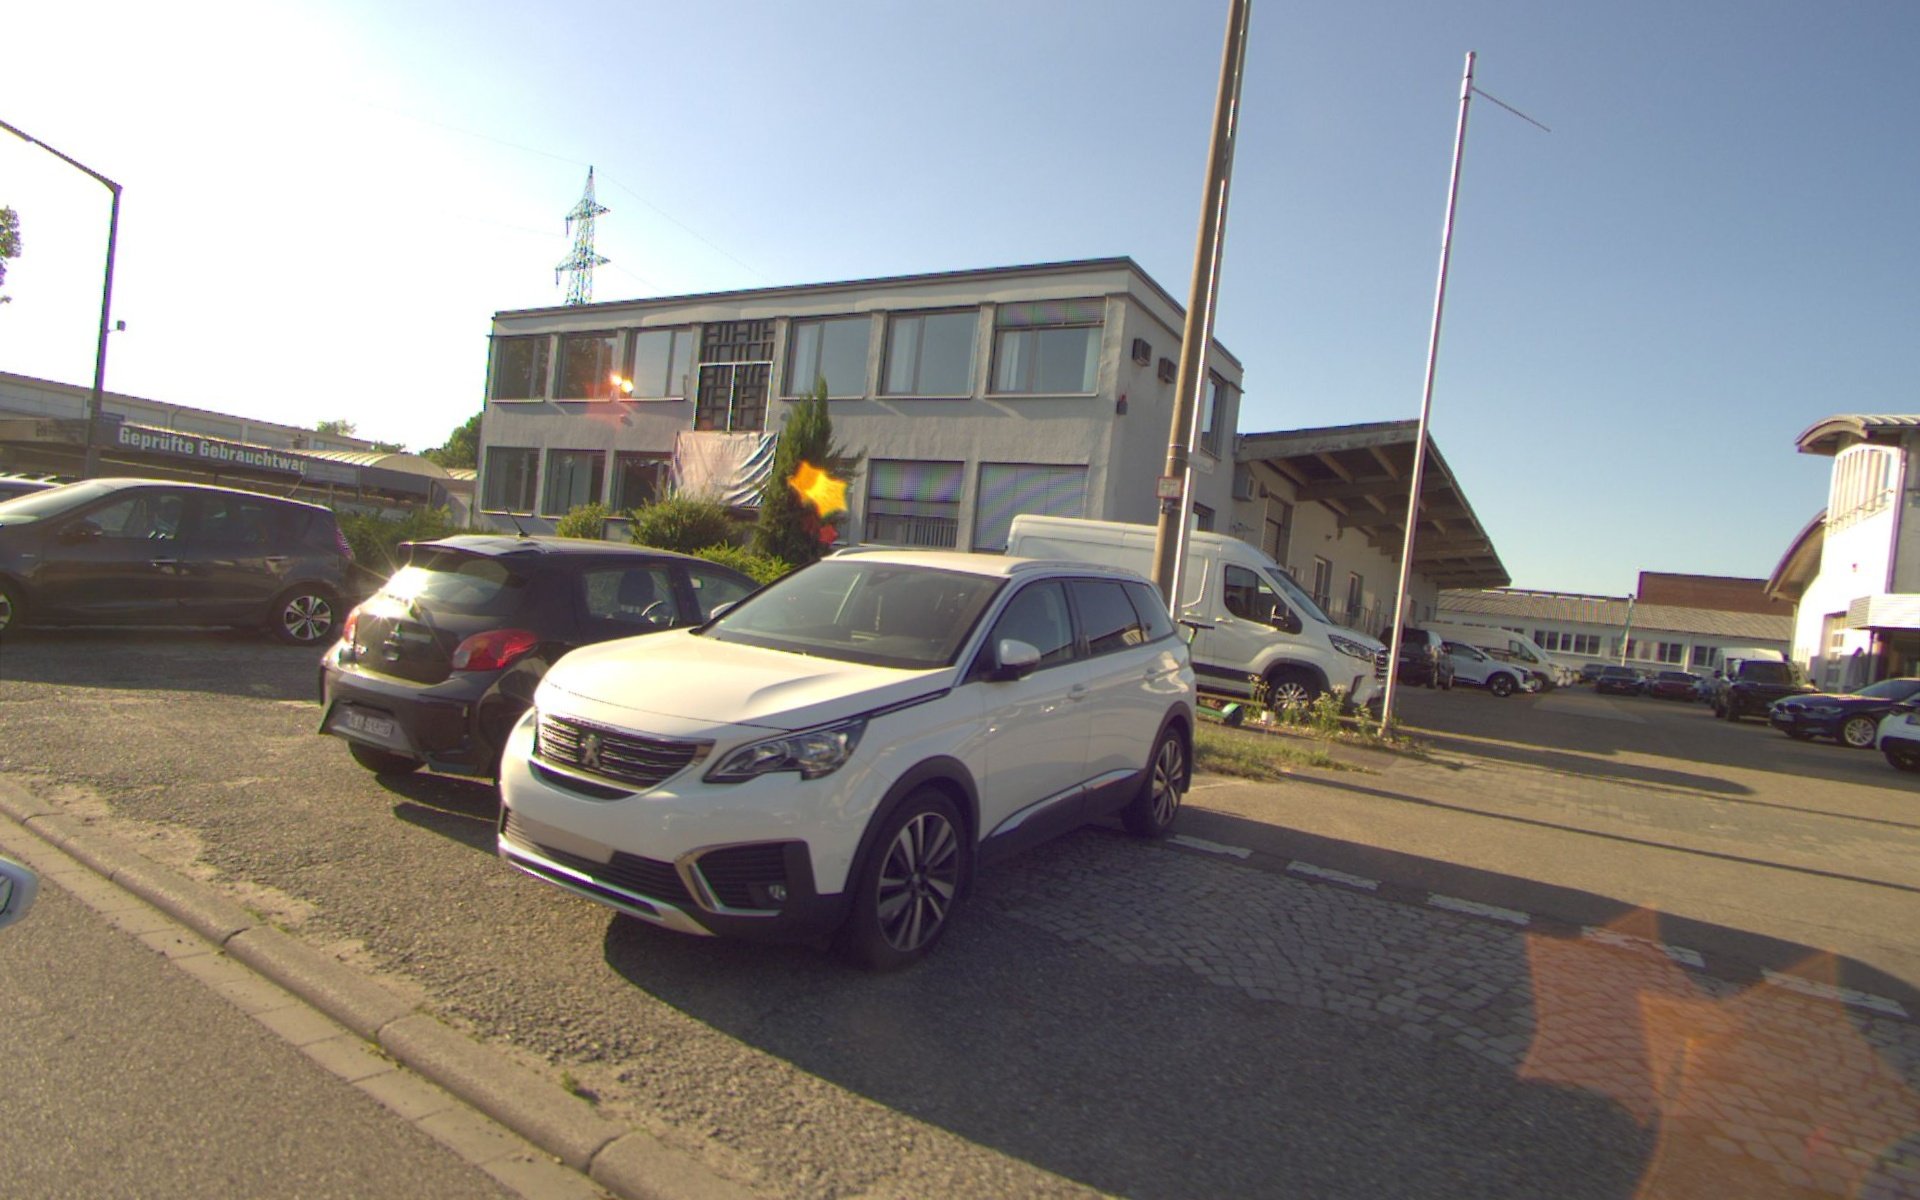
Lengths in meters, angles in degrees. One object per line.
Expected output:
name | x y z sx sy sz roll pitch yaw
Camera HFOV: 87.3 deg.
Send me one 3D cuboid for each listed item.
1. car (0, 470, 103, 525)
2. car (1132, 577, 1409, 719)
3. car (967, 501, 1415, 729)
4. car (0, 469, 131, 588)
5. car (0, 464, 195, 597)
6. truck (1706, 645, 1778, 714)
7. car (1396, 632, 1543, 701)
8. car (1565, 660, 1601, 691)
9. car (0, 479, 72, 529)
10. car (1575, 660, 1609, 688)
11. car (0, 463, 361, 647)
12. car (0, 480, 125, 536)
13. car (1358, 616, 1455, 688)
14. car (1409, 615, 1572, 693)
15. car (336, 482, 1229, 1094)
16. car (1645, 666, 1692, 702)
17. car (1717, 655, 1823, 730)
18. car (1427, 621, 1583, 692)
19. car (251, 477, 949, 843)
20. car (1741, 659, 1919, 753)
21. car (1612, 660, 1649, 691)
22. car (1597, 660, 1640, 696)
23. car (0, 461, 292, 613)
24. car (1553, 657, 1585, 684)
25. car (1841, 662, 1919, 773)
car | -37.462 -4.182 40.480 1.966 1.654 3.994 6 -1 30
car | 5.182 0.773 16.882 3.934 1.821 1.997 6 -1 31
car | 3.314 0.116 15.142 6.035 2.657 1.996 6 -1 31
car | -15.084 -1.150 14.472 1.723 1.695 4.527 6 2 28
car | -12.973 -0.982 13.454 1.713 1.675 3.988 6 3 29
truck | 30.983 3.193 39.972 1.661 2.436 4.471 6 -1 33
car | 16.517 2.139 32.644 3.936 1.704 1.995 6 -1 34
car | 37.611 4.570 60.693 1.661 1.543 3.868 6 -1 33
car | -39.855 -4.144 41.744 1.966 1.720 3.994 6 -1 30
car | 40.908 4.787 65.073 1.661 1.543 3.868 6 -1 33
car | -8.804 -0.447 10.423 1.971 1.634 3.981 6 1 38
car | -35.507 -3.600 39.262 1.966 1.587 3.994 6 -1 30
car | 12.837 1.531 28.780 1.967 1.704 3.994 6 -1 31
car | 22.272 2.268 42.373 5.757 2.552 1.996 6 -1 31
car | -0.296 0.477 5.269 2.164 1.619 4.556 6 3 28
car | 35.953 4.307 51.109 1.661 1.543 3.868 6 -1 33
car | 21.302 2.438 26.586 1.661 1.639 3.868 6 -1 33
car | 24.108 2.479 44.661 5.757 2.435 1.996 6 -1 31
car | -2.030 0.281 6.954 1.888 1.645 4.250 6 2 30
car | 18.034 2.146 19.644 3.803 1.485 2.001 7 -1 5
car | 39.720 4.511 59.664 1.661 1.543 3.868 6 -1 33
car | 34.009 4.049 51.985 1.661 1.543 3.868 6 -1 33
car | -10.834 -0.771 12.364 1.771 1.675 3.985 6 3 32
car | 42.516 4.947 70.194 1.661 1.543 3.868 6 -1 33
car | 16.079 1.978 15.047 3.803 1.600 2.001 7 -1 5
